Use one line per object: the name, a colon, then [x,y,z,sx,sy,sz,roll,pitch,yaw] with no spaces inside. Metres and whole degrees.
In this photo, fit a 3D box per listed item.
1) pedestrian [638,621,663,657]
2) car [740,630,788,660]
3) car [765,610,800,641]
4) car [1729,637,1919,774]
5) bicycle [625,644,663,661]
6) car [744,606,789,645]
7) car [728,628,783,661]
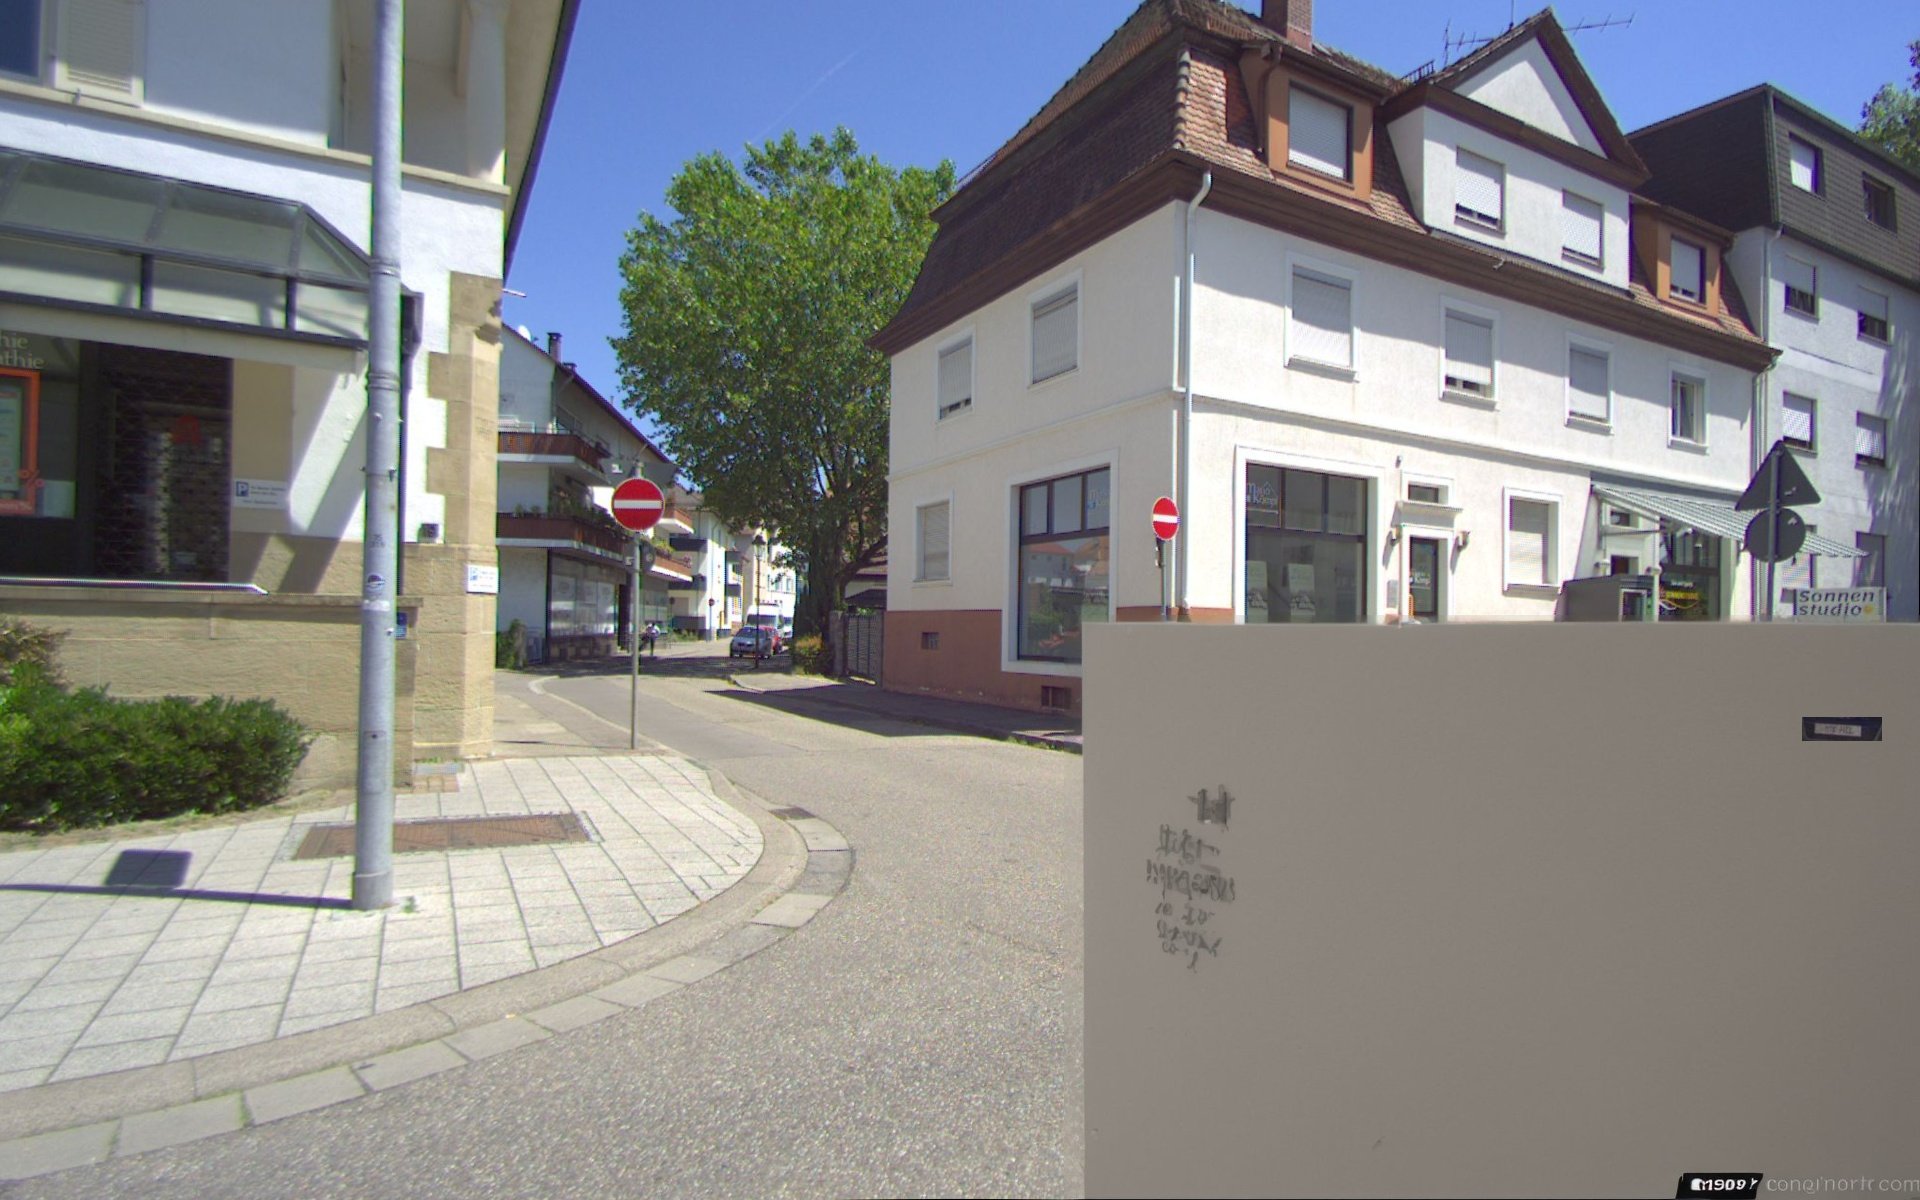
pedestrian: [-14.194,1.803,46.124,0.897,1.618,1.253,1,-1,-9]
car: [-10.201,2.313,52.533,1.962,1.470,3.998,1,-2,-4]
car: [-13.014,1.875,73.775,1.962,2.179,5.166,1,-2,-4]
car: [11.951,1.197,12.496,5.035,1.391,1.934,1,-1,-29]
bicycle: [-14.444,2.393,45.924,0.597,0.790,1.637,-1,-2,37]
car: [-11.238,1.504,58.646,1.962,2.179,5.166,1,-2,-4]
car: [-9.569,2.084,47.255,1.962,1.470,3.998,1,-2,-4]
